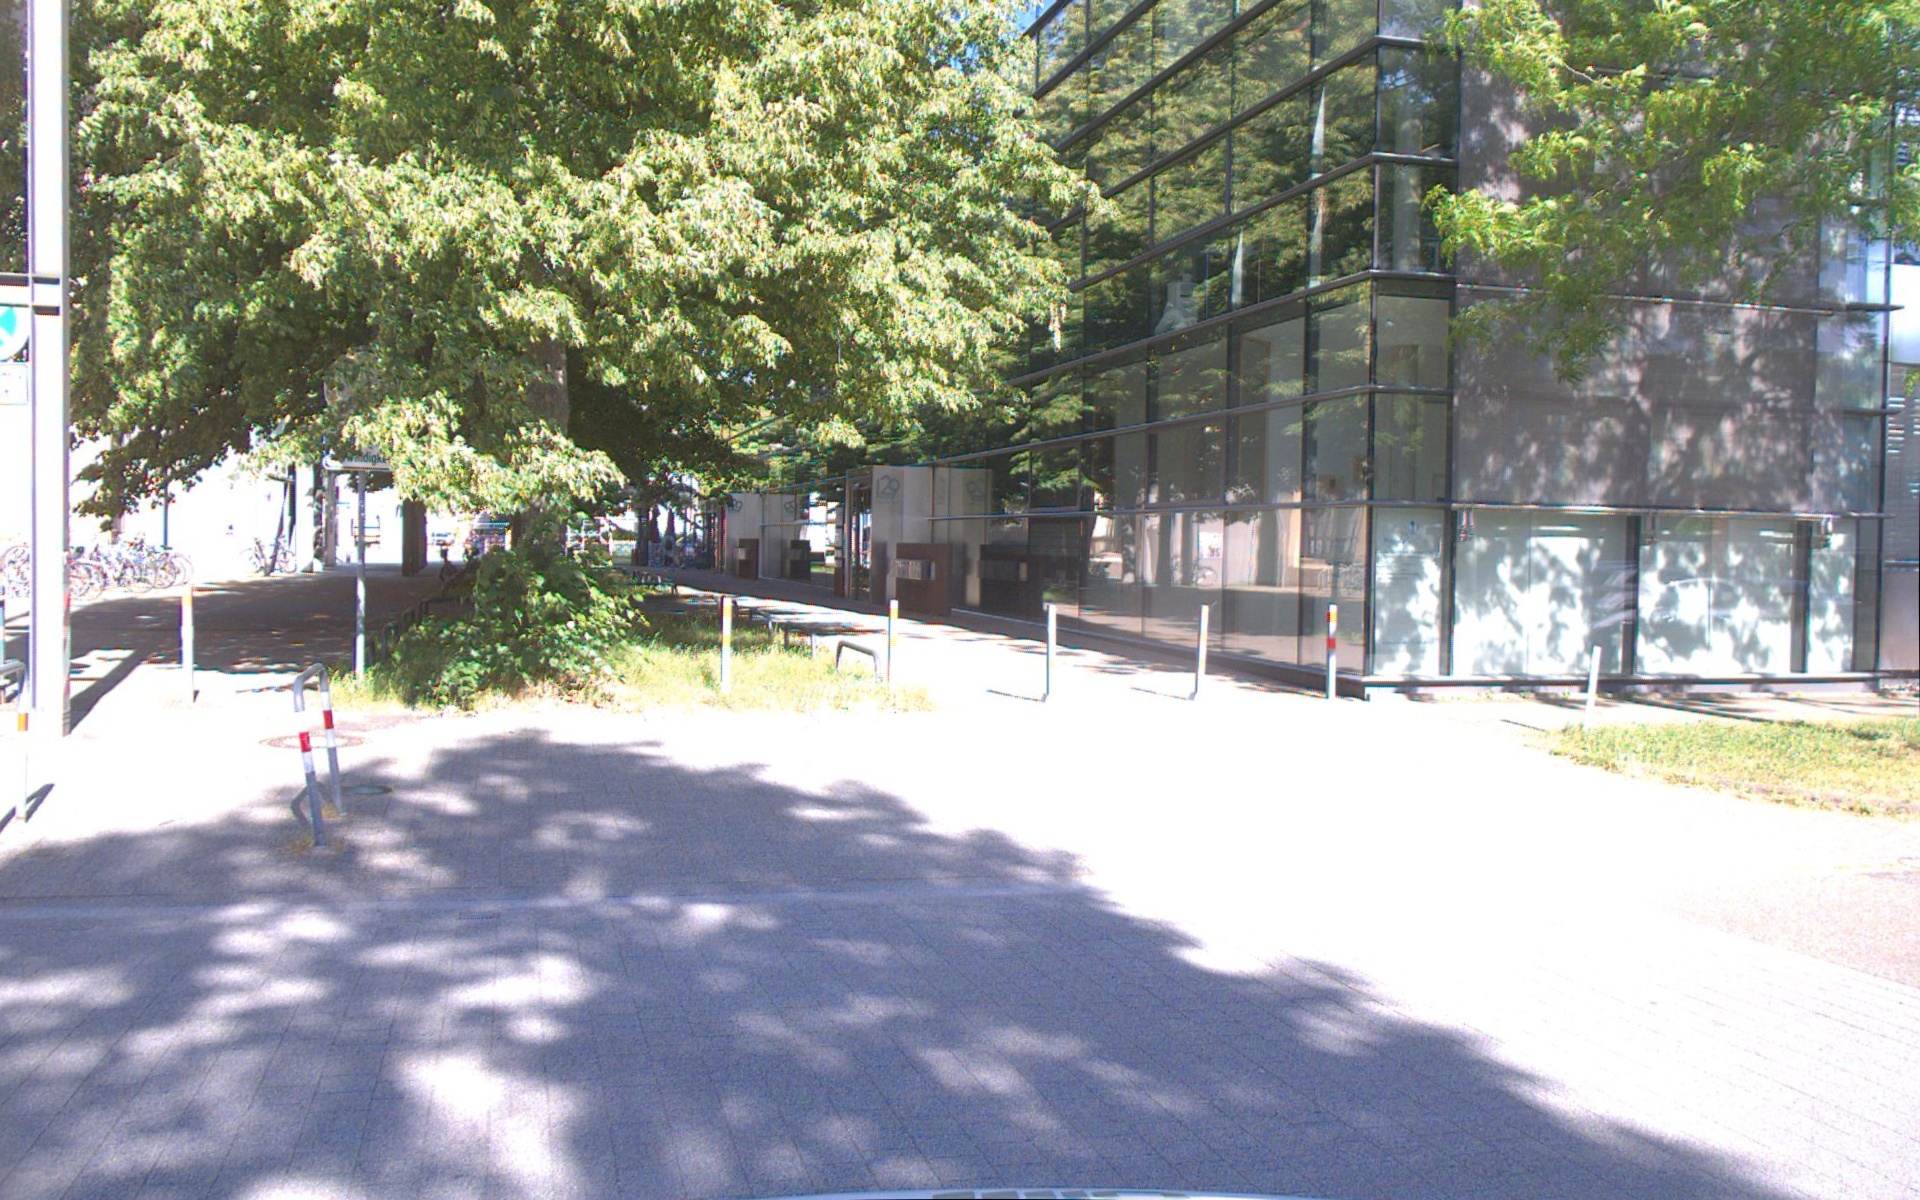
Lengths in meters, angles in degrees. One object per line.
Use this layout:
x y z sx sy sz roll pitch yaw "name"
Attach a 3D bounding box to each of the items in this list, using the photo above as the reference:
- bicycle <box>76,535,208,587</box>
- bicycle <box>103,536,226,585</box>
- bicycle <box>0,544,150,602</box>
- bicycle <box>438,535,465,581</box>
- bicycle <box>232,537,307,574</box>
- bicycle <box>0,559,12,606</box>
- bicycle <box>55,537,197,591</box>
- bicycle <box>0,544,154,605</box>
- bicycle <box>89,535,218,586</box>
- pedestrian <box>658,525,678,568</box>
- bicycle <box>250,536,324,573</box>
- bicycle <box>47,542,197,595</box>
-19.083 -0.906 38.663 2.691 1.170 0.715 0 2 -20 "bicycle"
-19.787 -0.987 41.200 2.691 1.170 0.715 0 2 -20 "bicycle"
-17.377 -0.520 32.222 2.754 1.081 0.716 1 2 -16 "bicycle"
-14.078 -1.179 45.795 0.610 1.217 2.119 0 2 -20 "bicycle"
-20.821 -1.344 49.904 2.022 1.085 0.505 0 2 -14 "bicycle"
-16.983 -0.266 27.820 0.763 0.806 2.880 1 2 -7 "bicycle"
-18.701 -0.803 37.154 2.759 1.170 0.715 0 2 -20 "bicycle"
-16.587 -0.476 30.808 2.759 1.081 0.715 0 2 -20 "bicycle"
-19.206 -0.932 39.445 2.691 1.170 0.715 0 2 -20 "bicycle"
-10.965 -2.005 62.114 0.703 1.577 0.689 1 2 -9 "pedestrian"
-20.624 -1.399 50.697 2.022 1.085 0.505 0 2 -14 "bicycle"
-17.740 -0.665 35.070 2.759 1.081 0.715 0 2 -20 "bicycle"
